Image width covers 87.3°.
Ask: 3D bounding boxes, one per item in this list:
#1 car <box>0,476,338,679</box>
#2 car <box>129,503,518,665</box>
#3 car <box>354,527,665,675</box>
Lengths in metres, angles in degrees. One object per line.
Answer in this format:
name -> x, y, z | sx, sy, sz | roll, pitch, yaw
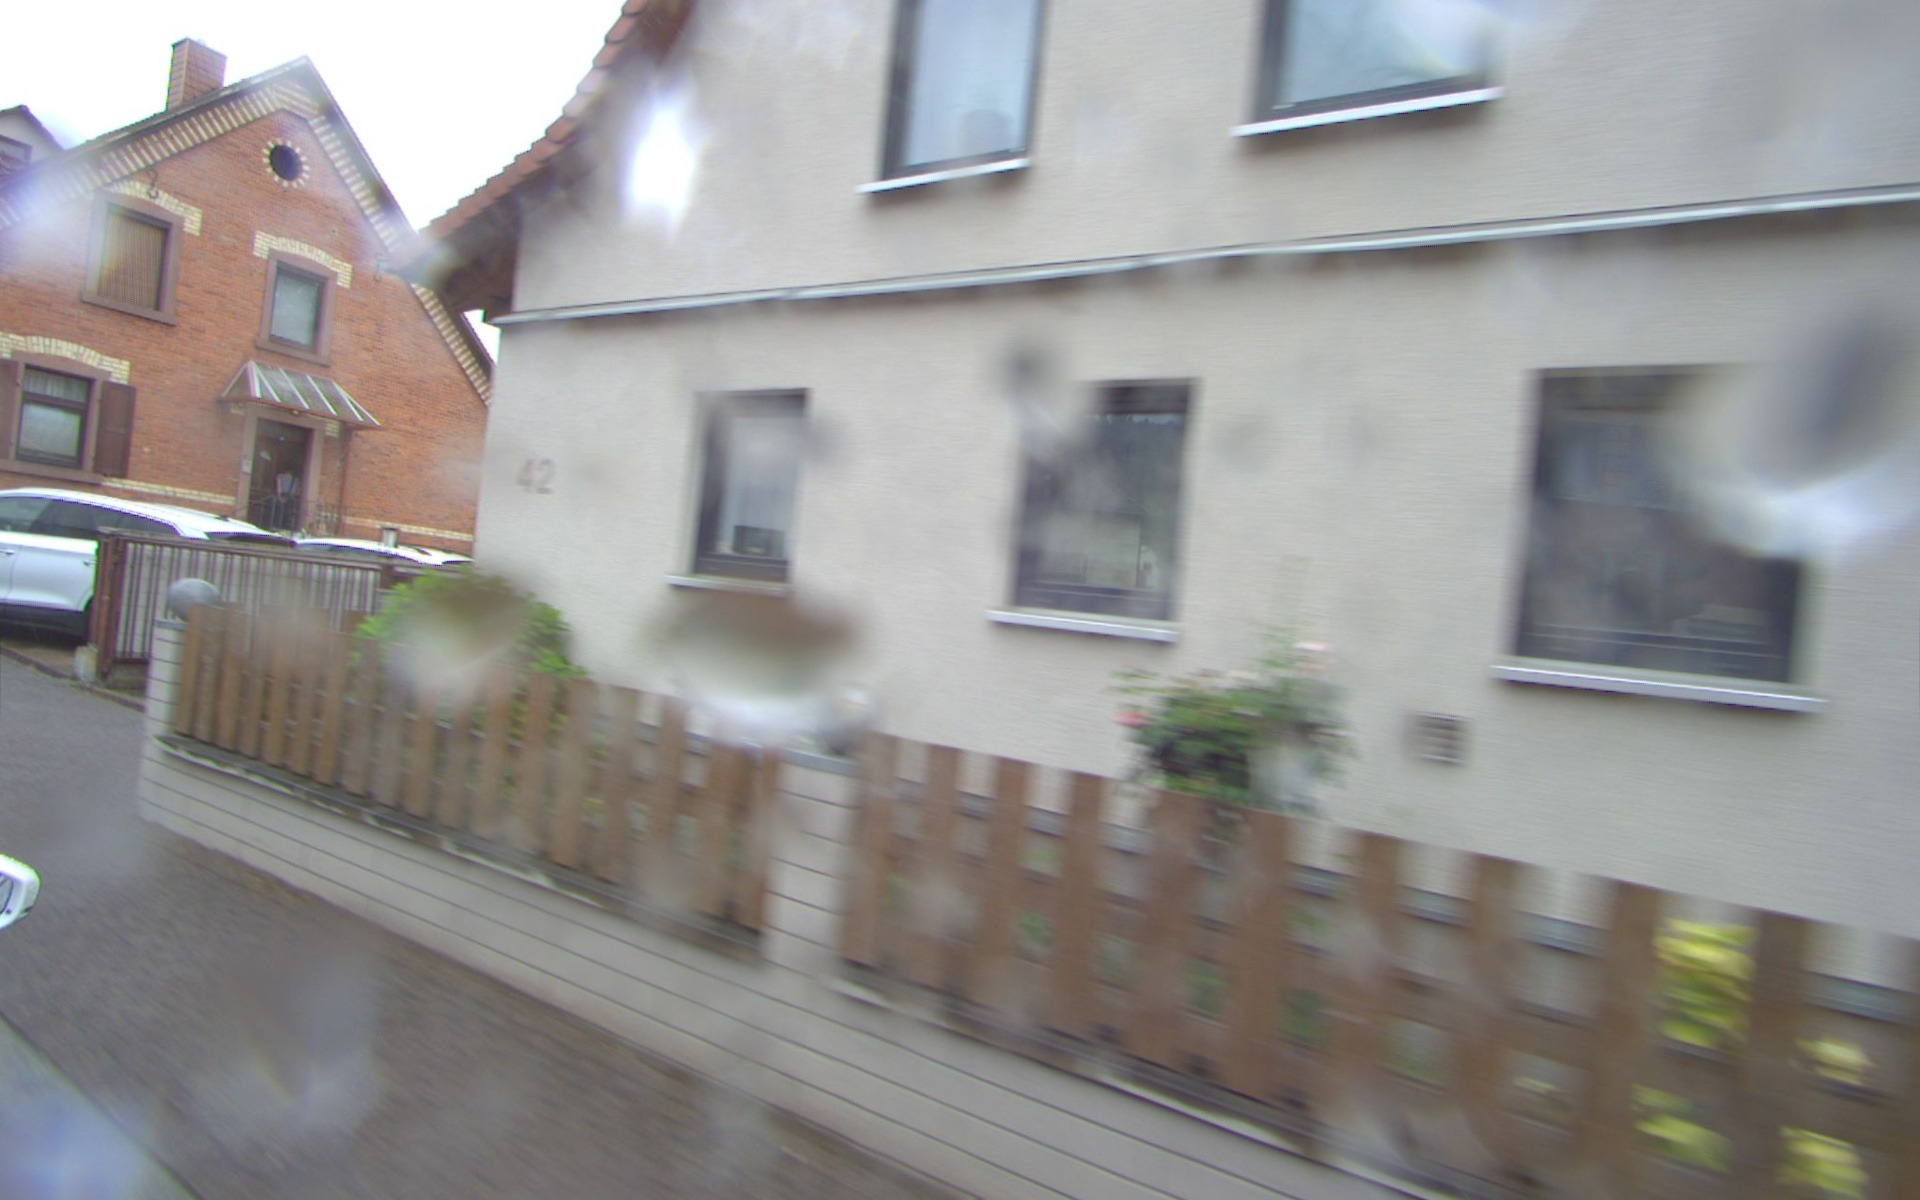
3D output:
car -> -9.667, -0.379, 10.853 | 4.537, 1.608, 1.877 | 10, -1, -1
car -> -8.764, -0.208, 14.072 | 4.211, 1.535, 1.877 | 8, 1, 5
car -> -7.198, -0.017, 16.257 | 4.140, 1.698, 1.809 | 8, 3, 8
